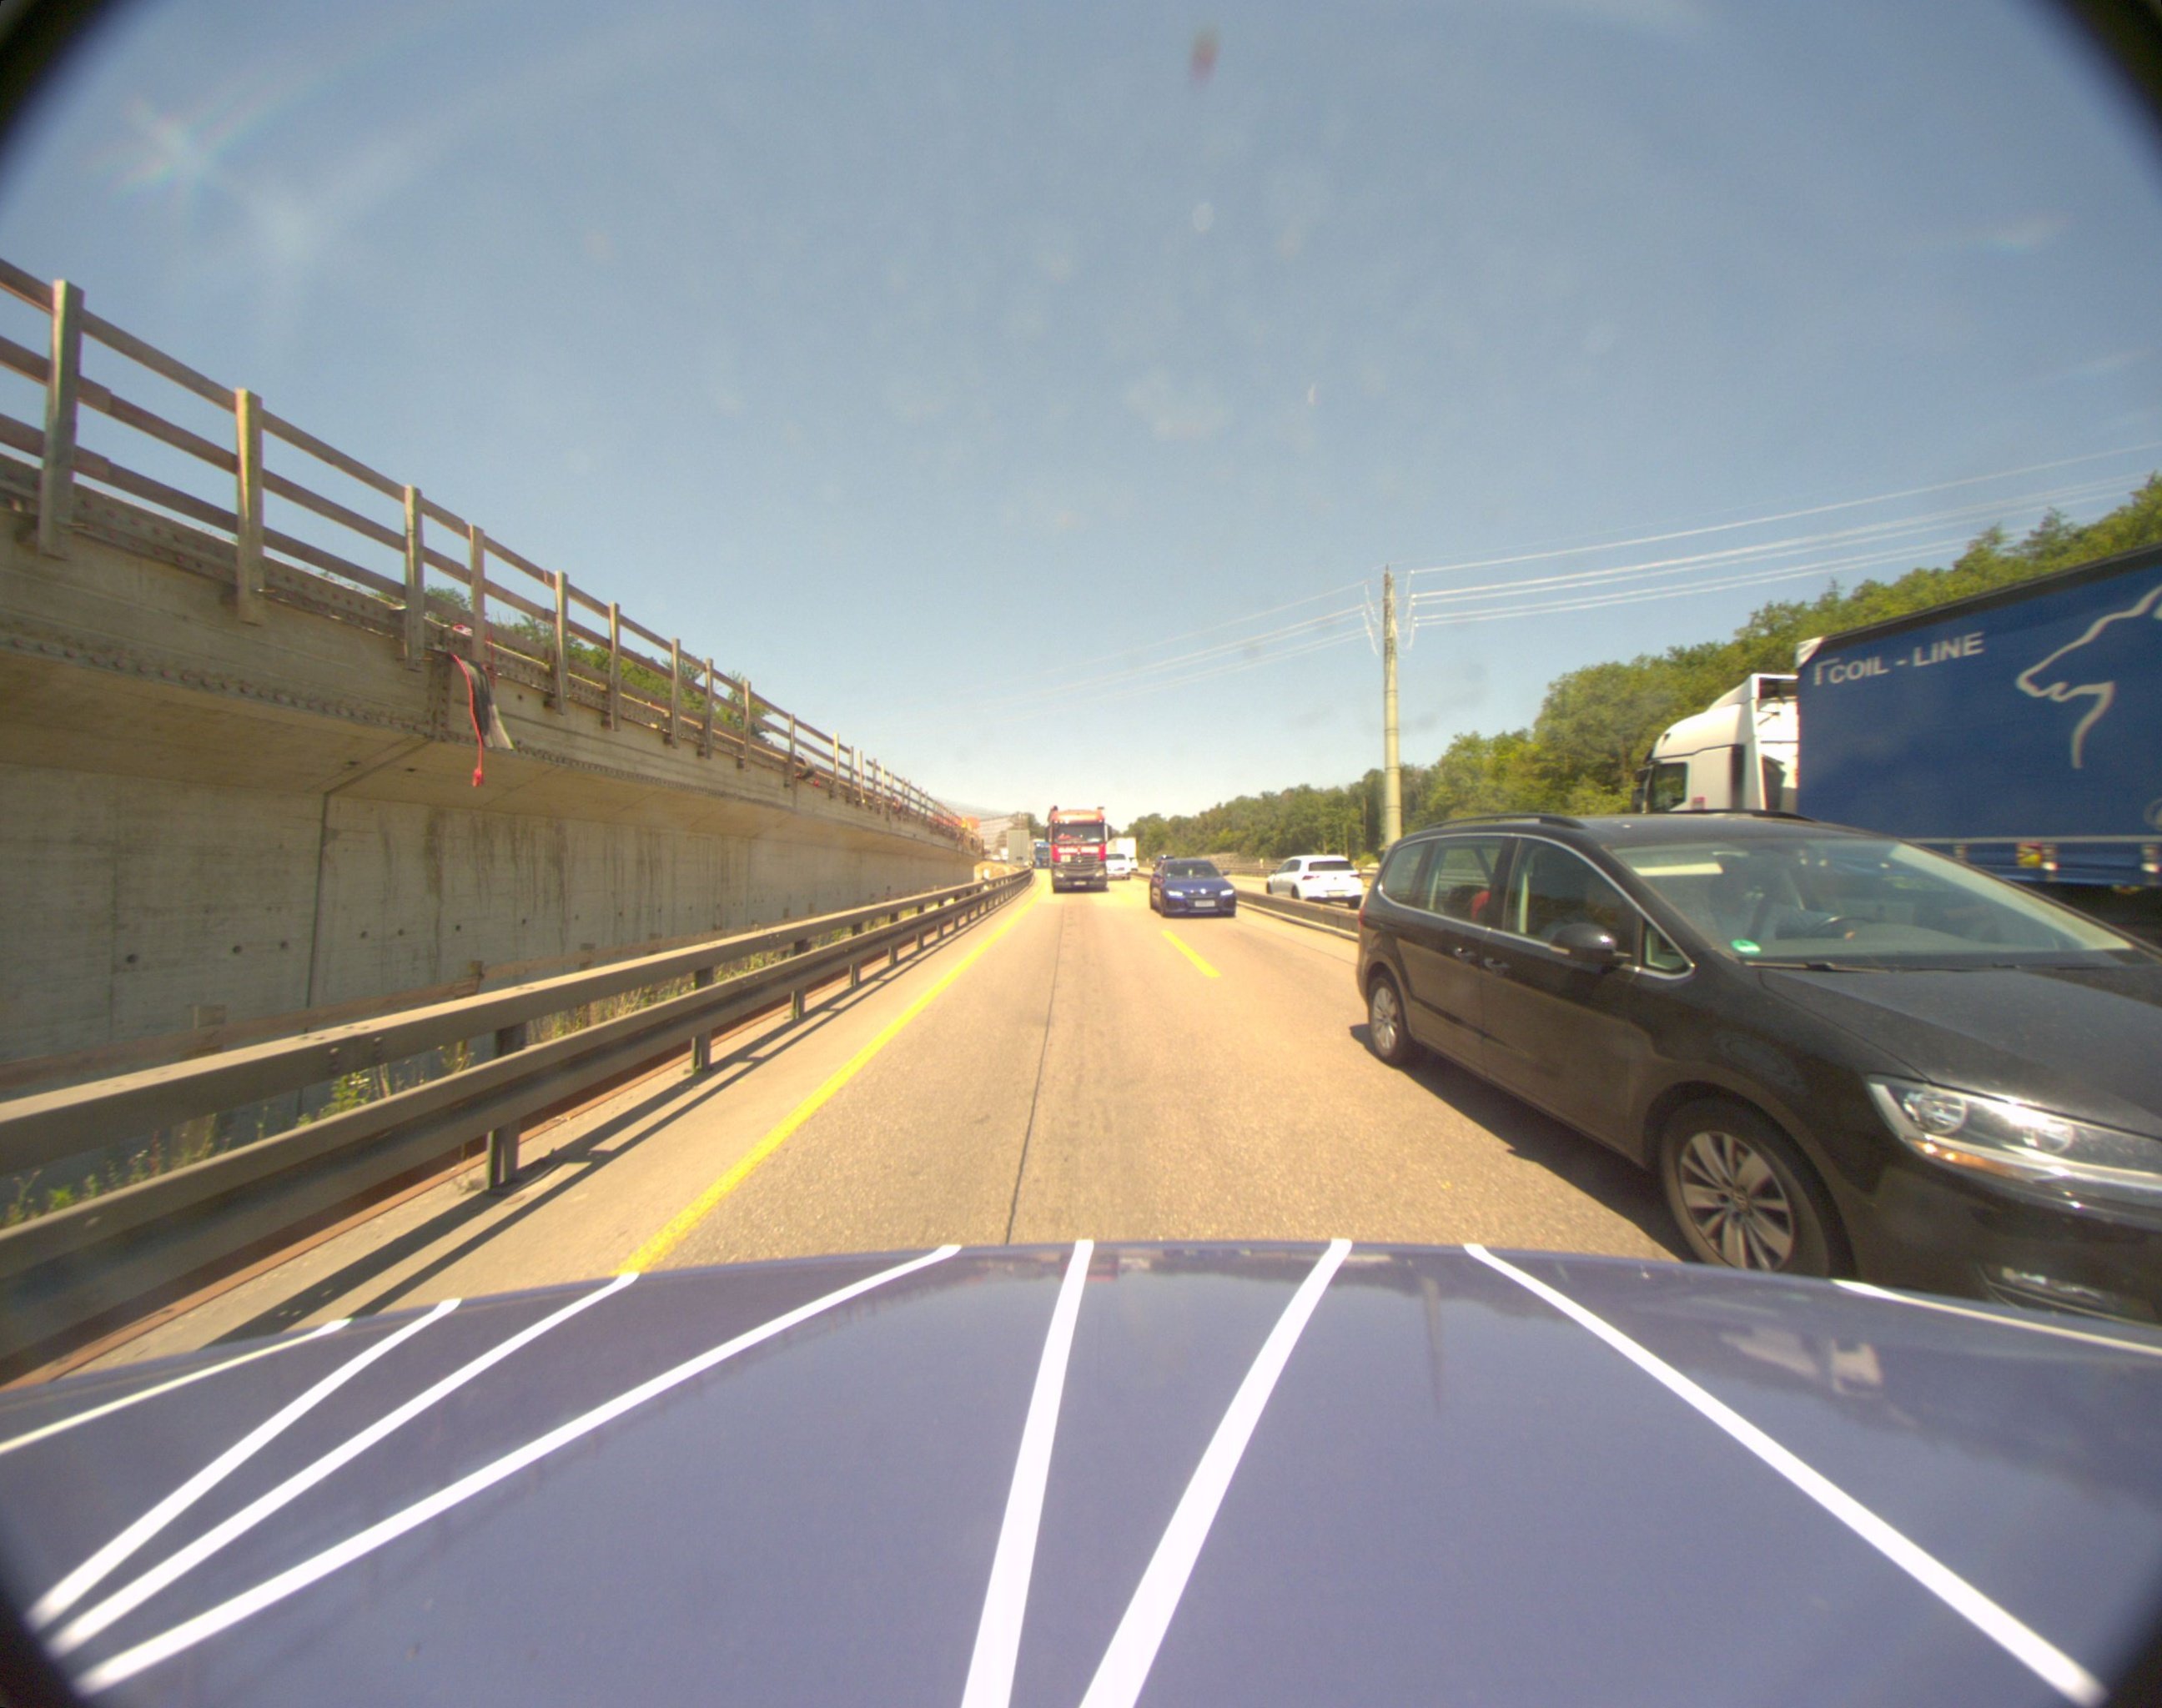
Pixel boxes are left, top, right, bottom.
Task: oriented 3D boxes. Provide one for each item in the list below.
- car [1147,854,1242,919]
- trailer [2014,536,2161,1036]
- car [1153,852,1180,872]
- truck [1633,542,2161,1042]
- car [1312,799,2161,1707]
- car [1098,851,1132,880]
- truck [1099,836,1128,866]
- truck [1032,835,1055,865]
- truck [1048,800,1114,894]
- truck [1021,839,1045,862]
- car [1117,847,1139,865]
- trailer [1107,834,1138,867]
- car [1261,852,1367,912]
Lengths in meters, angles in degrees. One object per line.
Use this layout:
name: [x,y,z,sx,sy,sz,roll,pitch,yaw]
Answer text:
car: [2.945,0.799,20.723,1.896,1.546,4.786,-1,0,1]
trailer: [10.283,-0.585,1.218,3.143,4.055,11.819,-1,0,1]
car: [8.385,0.771,74.986,1.911,1.732,4.659,-1,1,-3]
truck: [10.369,-0.517,8.669,3.143,4.055,6.879,-1,0,0]
car: [2.946,0.742,4.017,1.861,1.695,5.304,-1,0,1]
car: [2.253,0.738,52.290,1.947,1.858,5.222,-1,0,-2]
truck: [4.720,-0.418,113.721,2.987,4.138,10.540,-1,0,-5]
truck: [-5.447,-0.538,109.698,2.673,3.985,10.424,-1,0,-6]
truck: [-0.211,-0.406,38.168,2.799,3.986,10.425,-1,1,-2]
truck: [-9.245,-0.804,145.395,2.913,4.208,9.229,-1,1,-13]
car: [4.639,0.204,76.020,1.755,1.677,4.385,-1,1,-2]
trailer: [5.636,-0.466,103.968,3.012,4.141,9.013,-1,0,-4]
car: [6.488,0.735,21.652,1.675,1.526,4.190,-1,0,-1]
